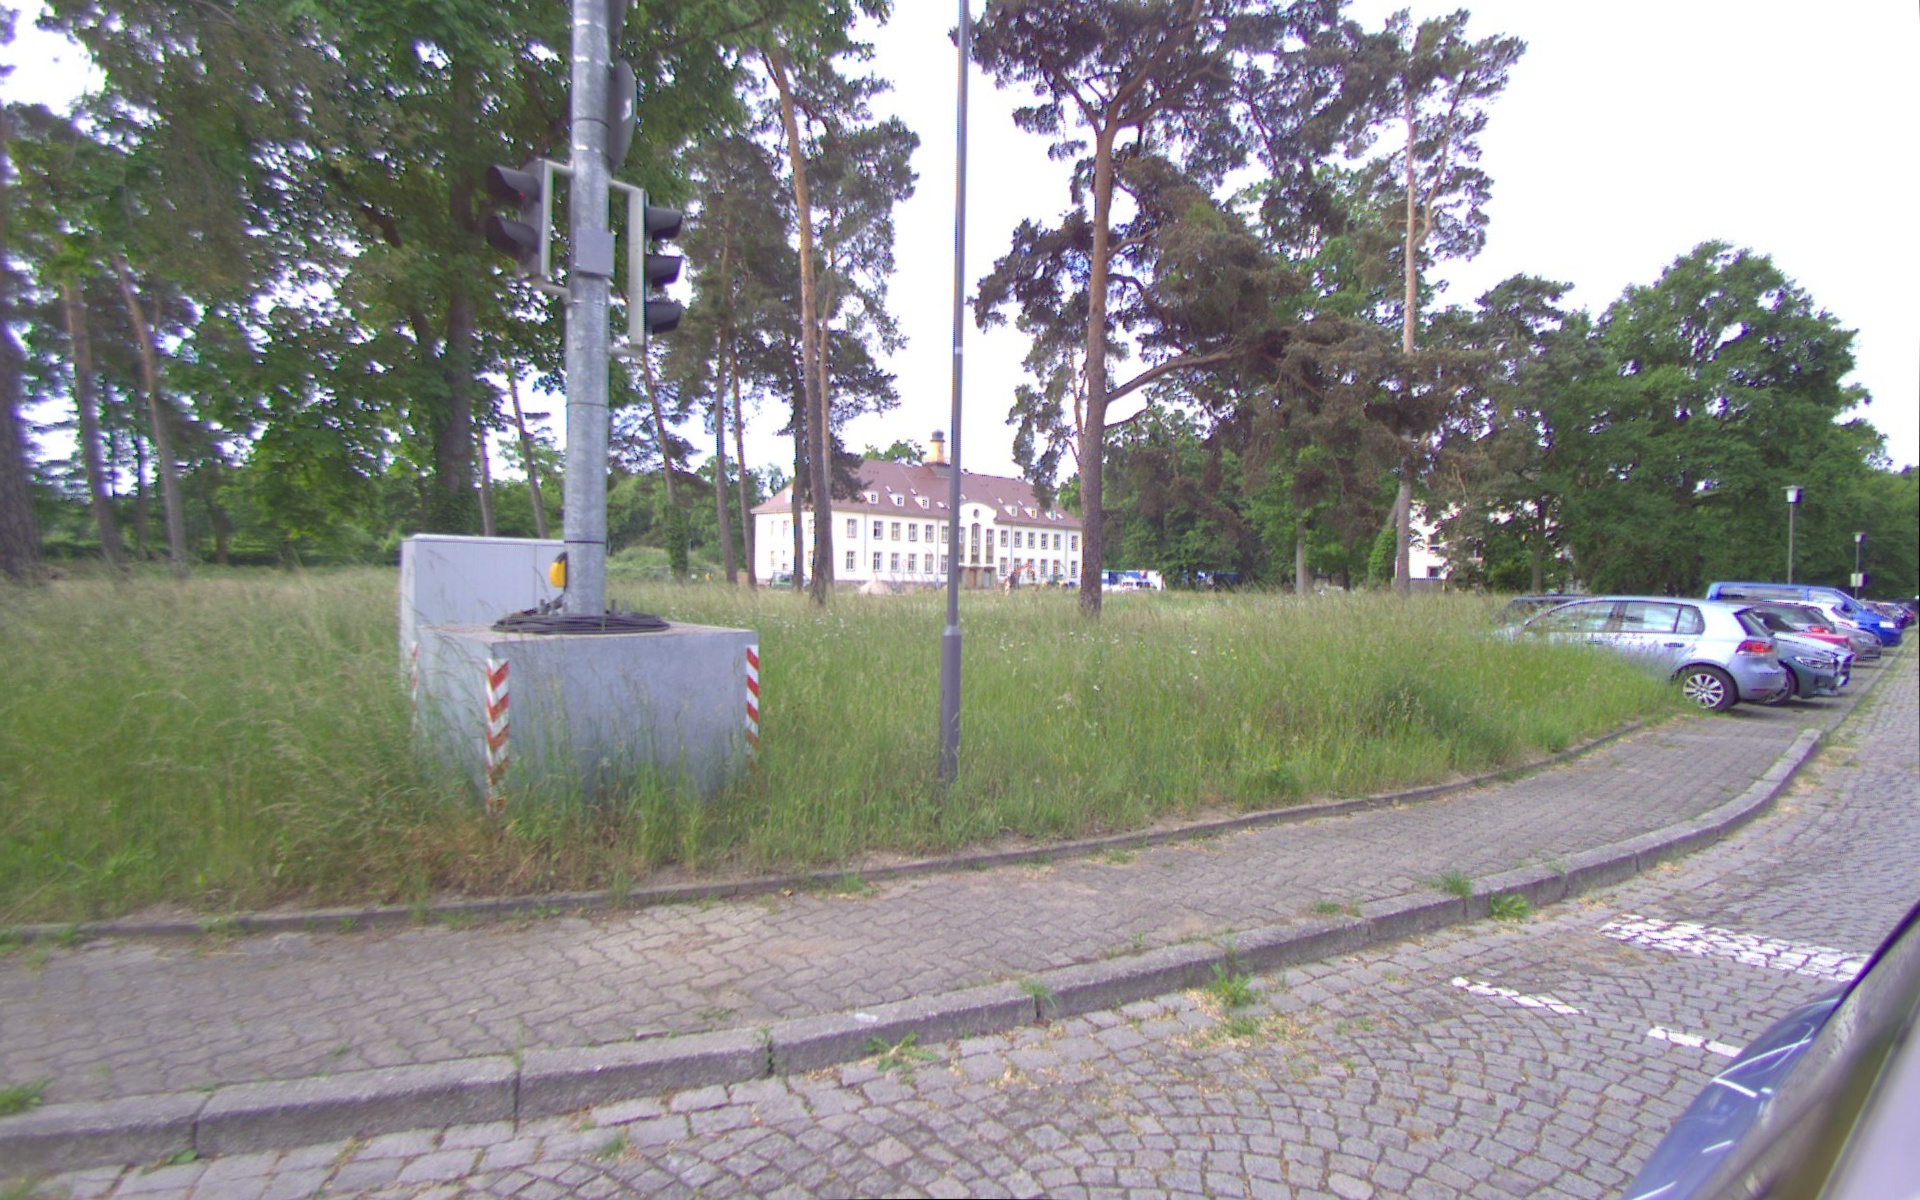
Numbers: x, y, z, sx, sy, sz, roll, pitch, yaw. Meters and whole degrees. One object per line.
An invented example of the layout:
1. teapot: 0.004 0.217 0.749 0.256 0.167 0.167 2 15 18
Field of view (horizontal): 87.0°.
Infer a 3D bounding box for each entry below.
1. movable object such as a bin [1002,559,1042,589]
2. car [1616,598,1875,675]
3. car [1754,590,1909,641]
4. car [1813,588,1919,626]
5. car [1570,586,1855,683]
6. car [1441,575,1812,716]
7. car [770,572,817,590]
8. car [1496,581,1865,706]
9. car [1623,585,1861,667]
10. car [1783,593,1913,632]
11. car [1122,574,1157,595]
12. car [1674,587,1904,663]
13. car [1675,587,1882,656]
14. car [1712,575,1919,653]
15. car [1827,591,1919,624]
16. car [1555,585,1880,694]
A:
1. movable object such as a bin: 8.055 -3.412 131.972 2.017 3.817 5.456 0 1 -40
2. car: 16.136 0.681 20.947 1.524 1.255 4.045 0 3 -43
3. car: 31.756 0.517 36.961 1.626 1.612 4.081 1 2 -41
4. car: 46.140 0.322 51.328 1.694 1.715 4.087 1 2 -37
5. car: 14.441 0.578 19.608 1.688 1.500 4.178 0 3 -43
6. car: 9.090 0.510 14.034 4.004 1.446 1.671 6 4 44
7. car: -18.813 -2.125 114.114 5.773 1.985 2.162 1 1 42
8. car: 11.028 0.556 15.748 4.432 1.400 1.637 6 4 44
9. car: 17.717 0.520 23.089 1.573 1.535 4.048 1 2 -41
10. car: 38.788 0.505 44.287 1.697 1.462 4.080 0 2 -42
11. car: 20.559 -1.760 115.866 4.375 2.394 1.858 -1 1 -45
12. car: 20.074 0.536 24.649 1.671 1.535 4.095 1 2 -41
13. car: 21.765 0.513 27.036 1.573 1.535 4.048 1 2 -41
14. car: 25.774 0.329 30.555 1.879 2.030 4.598 0 3 -42
15. car: 49.529 0.390 54.458 1.694 1.552 4.097 1 2 -37
16. car: 13.003 0.580 17.589 1.688 1.491 4.244 0 2 -42
